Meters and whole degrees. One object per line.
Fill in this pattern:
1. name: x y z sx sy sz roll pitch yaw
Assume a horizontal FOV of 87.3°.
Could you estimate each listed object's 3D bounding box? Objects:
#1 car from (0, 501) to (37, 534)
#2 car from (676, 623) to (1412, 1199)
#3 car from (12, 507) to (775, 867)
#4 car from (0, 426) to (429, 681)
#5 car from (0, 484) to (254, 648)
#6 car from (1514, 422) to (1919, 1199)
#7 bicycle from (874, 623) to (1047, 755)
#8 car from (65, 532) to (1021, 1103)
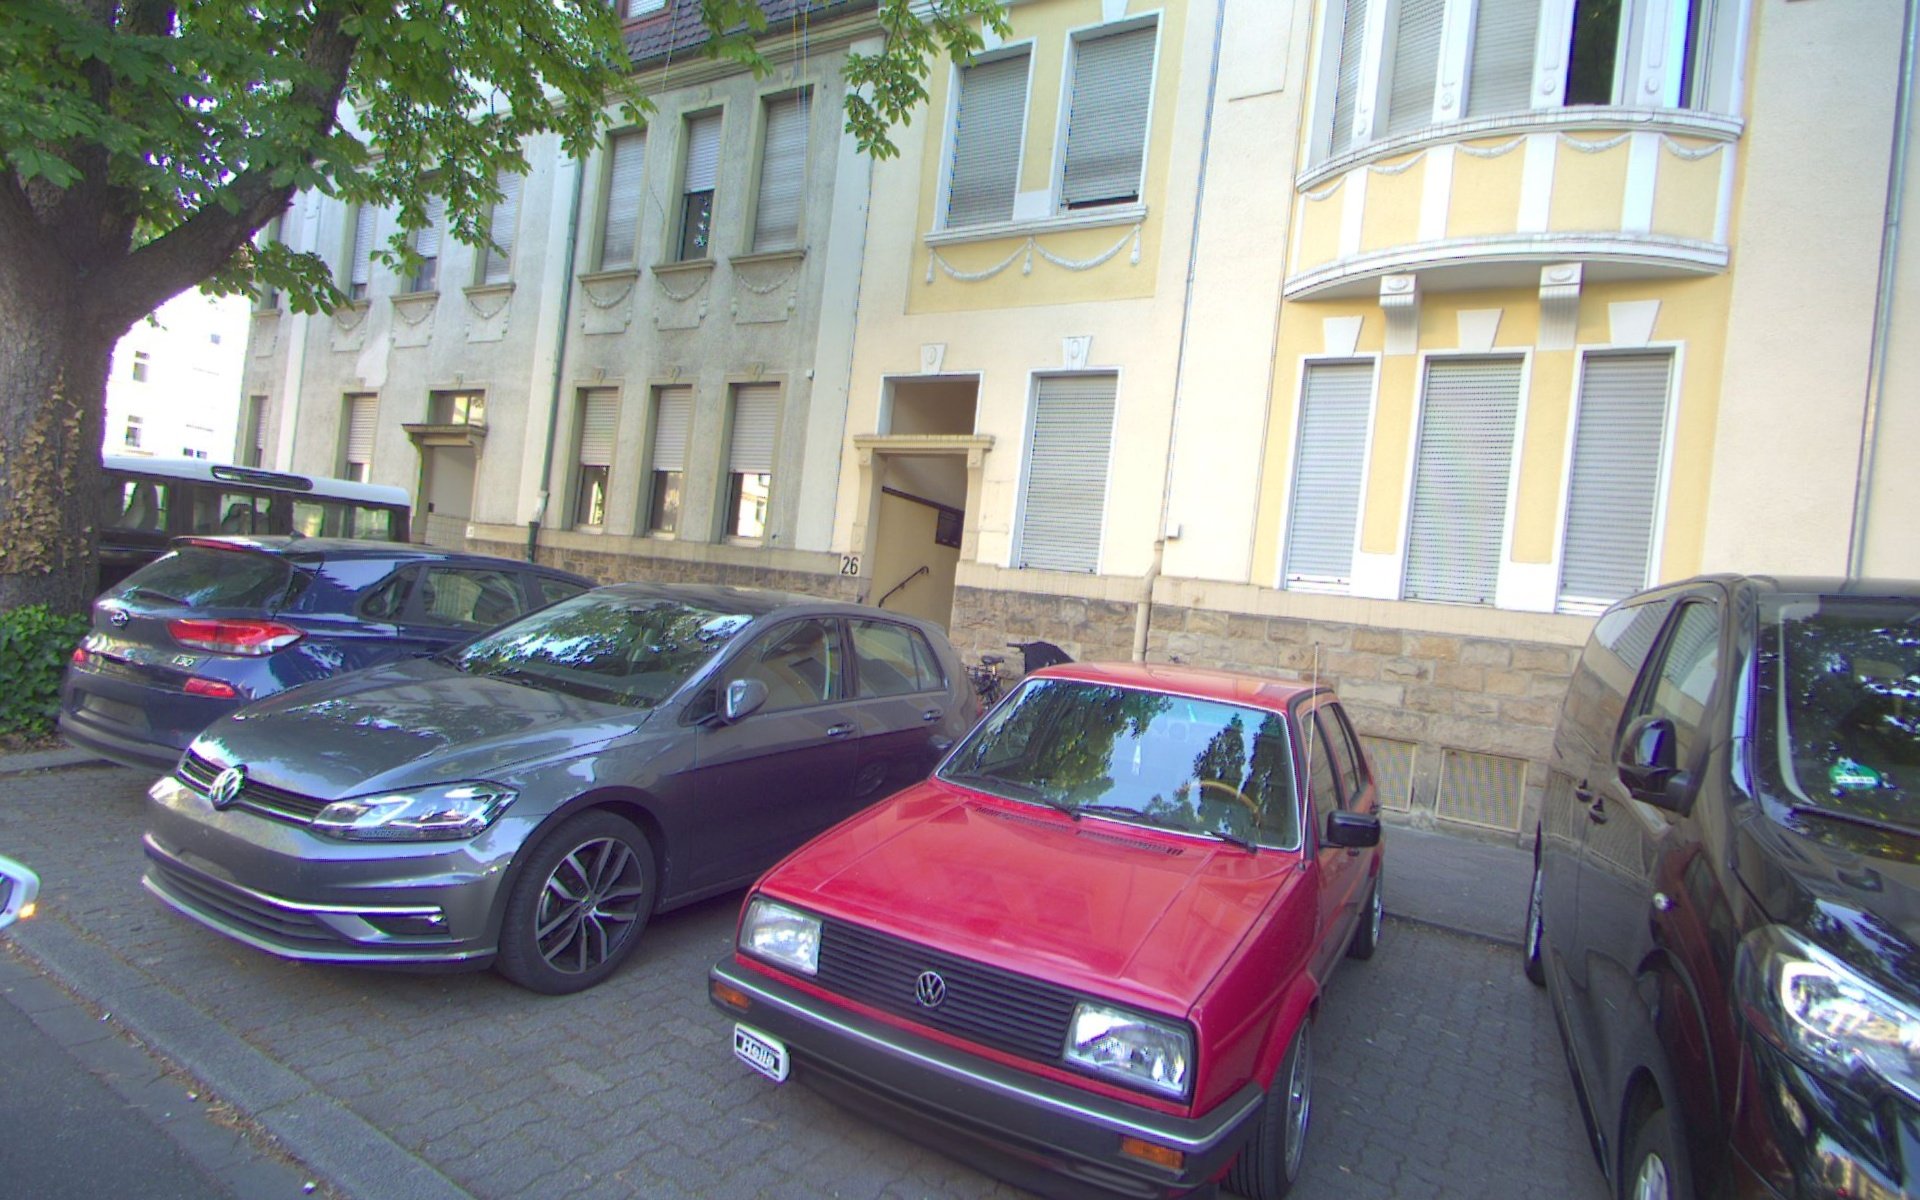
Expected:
1. car: -36.204 -3.221 36.753 1.357 1.081 3.370 7 -1 30
2. car: 0.839 0.888 4.229 1.532 1.337 3.916 6 0 29
3. car: -3.026 0.416 6.207 1.600 1.440 3.754 6 0 29
4. car: -7.635 -0.385 9.288 1.762 1.981 4.496 7 1 29
5. car: -10.061 -0.401 10.896 1.680 1.606 3.488 7 0 25
6. car: 2.880 0.896 2.951 1.848 1.847 4.829 6 0 27
7. bicycle: -0.014 0.881 10.370 1.675 1.090 0.500 7 2 32
8. car: -1.349 0.648 4.826 1.600 1.440 4.054 6 0 29
